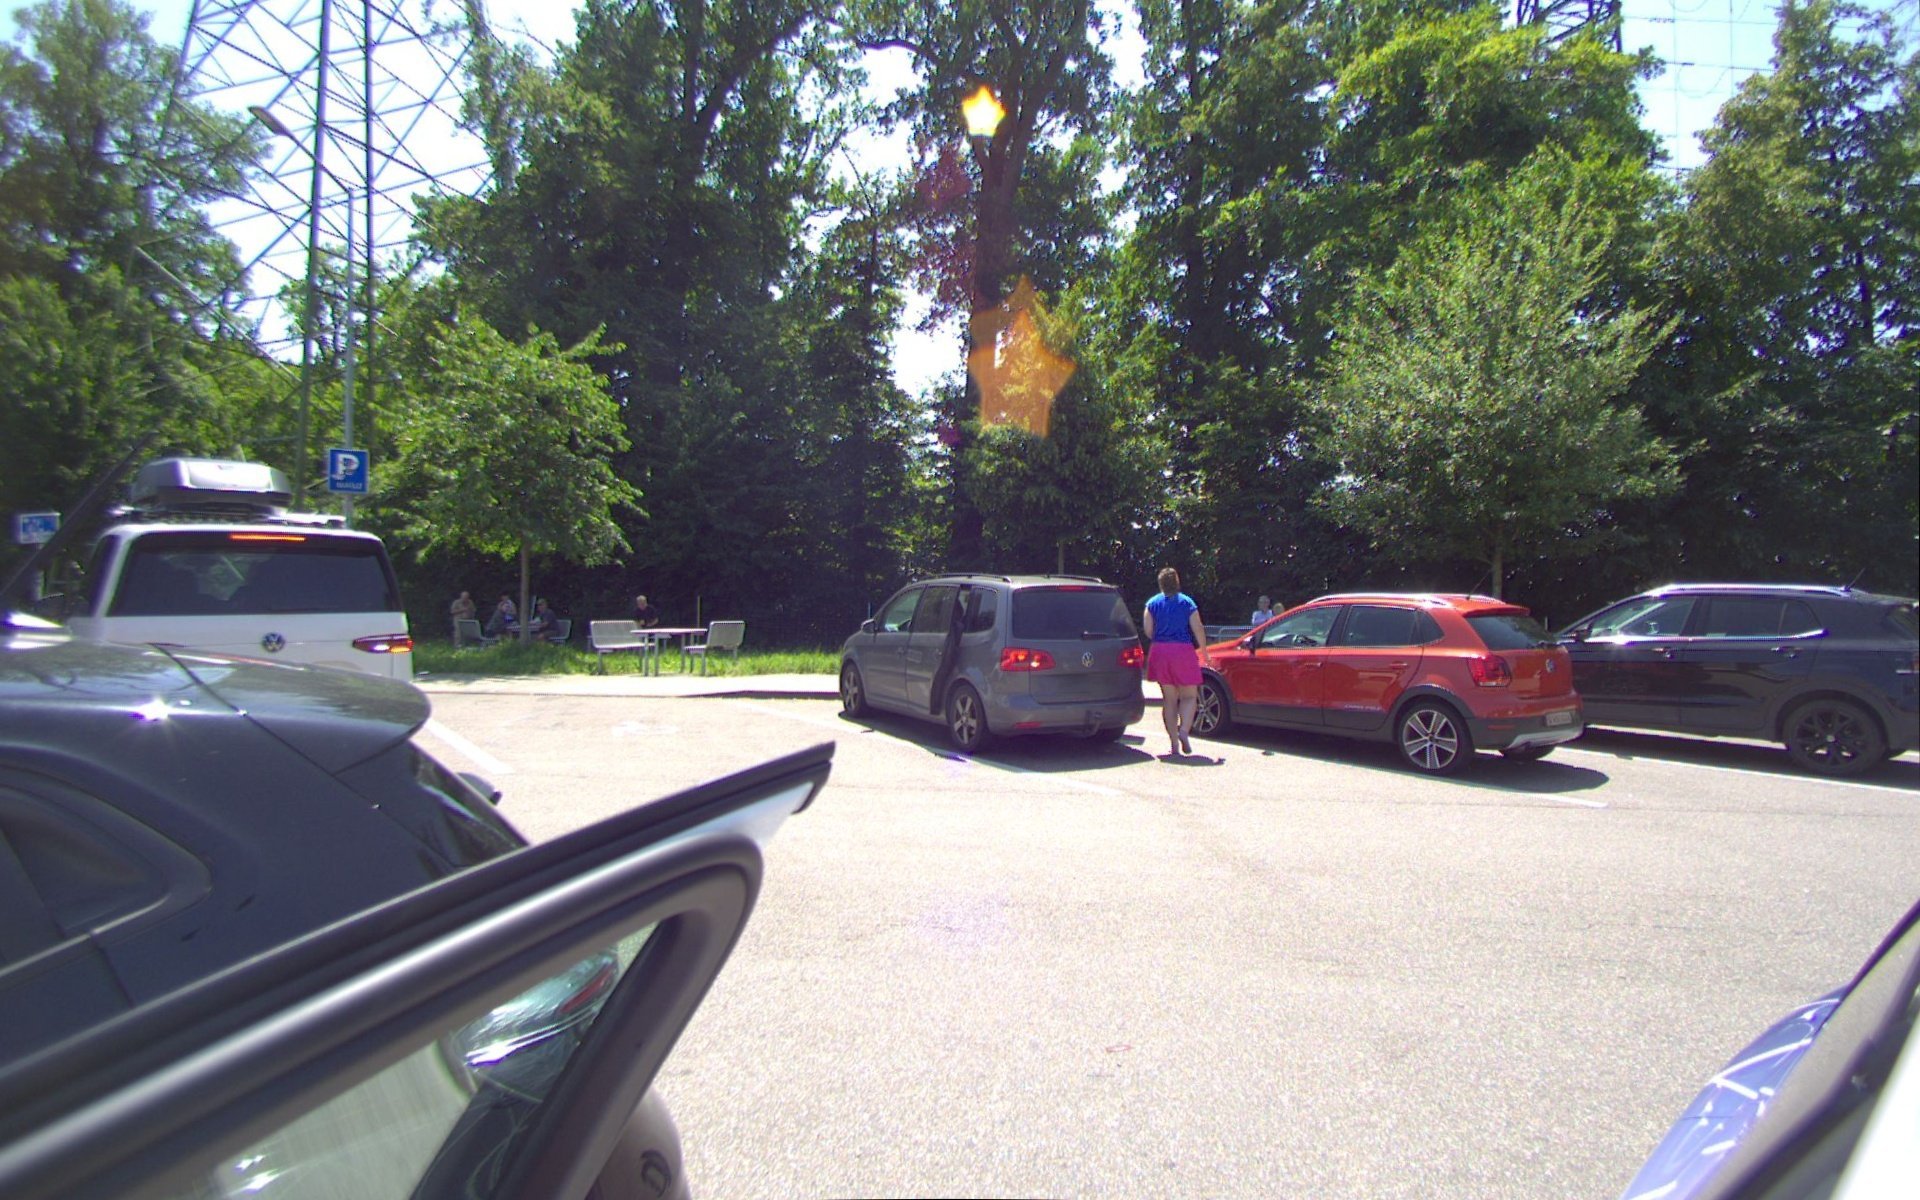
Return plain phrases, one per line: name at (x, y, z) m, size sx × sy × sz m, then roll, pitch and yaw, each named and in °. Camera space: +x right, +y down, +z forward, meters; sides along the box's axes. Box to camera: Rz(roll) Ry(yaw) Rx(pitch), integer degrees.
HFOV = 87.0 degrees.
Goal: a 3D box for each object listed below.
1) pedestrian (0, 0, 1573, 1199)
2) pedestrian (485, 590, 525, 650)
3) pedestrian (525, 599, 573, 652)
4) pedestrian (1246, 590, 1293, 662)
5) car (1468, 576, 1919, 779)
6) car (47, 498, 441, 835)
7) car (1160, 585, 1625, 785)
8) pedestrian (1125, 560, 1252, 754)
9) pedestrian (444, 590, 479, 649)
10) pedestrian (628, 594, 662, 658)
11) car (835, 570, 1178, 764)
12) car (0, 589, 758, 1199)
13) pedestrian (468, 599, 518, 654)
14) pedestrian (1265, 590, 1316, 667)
pedestrian at (-0.148, 0.539, 0.607) m, size 0.874 × 1.865 × 0.621 m, roll 0°, pitch 0°, yaw -38°
pedestrian at (-11.021, 0.464, 24.527) m, size 0.664 × 1.422 × 0.643 m, roll 0°, pitch 0°, yaw 32°
pedestrian at (-9.594, 0.575, 23.631) m, size 0.873 × 1.192 × 0.668 m, roll 0°, pitch 0°, yaw -41°
pedestrian at (5.793, 0.478, 18.981) m, size 0.657 × 1.311 × 0.783 m, roll 0°, pitch 0°, yaw 3°
car at (7.187, 0.577, 9.713) m, size 1.690 × 1.593 × 3.787 m, roll 0°, pitch 1°, yaw -39°
car at (-5.936, 0.341, 8.123) m, size 1.881 × 1.936 × 4.552 m, roll 0°, pitch 1°, yaw -45°
car at (3.861, 0.611, 9.654) m, size 1.687 × 1.484 × 3.793 m, roll 0°, pitch 1°, yaw -32°
pedestrian at (2.099, 0.498, 9.369) m, size 0.900 × 1.703 × 0.735 m, roll 0°, pitch 0°, yaw -15°
pedestrian at (-12.302, 0.461, 24.966) m, size 0.657 × 1.422 × 0.649 m, roll 0°, pitch 0°, yaw -39°
pedestrian at (-6.615, 0.521, 21.269) m, size 0.655 × 1.311 × 0.786 m, roll 0°, pitch 0°, yaw -16°
car at (0.260, 0.517, 10.523) m, size 1.713 × 1.601 × 3.996 m, roll 0°, pitch 1°, yaw -29°
car at (-2.196, 0.719, 0.605) m, size 1.737 × 1.501 × 3.757 m, roll 0°, pitch 0°, yaw 44°
pedestrian at (-10.510, 0.587, 22.776) m, size 0.873 × 1.192 × 0.668 m, roll 0°, pitch 0°, yaw -41°
pedestrian at (5.787, 0.490, 17.761) m, size 0.657 × 1.311 × 0.783 m, roll 0°, pitch 0°, yaw 3°
